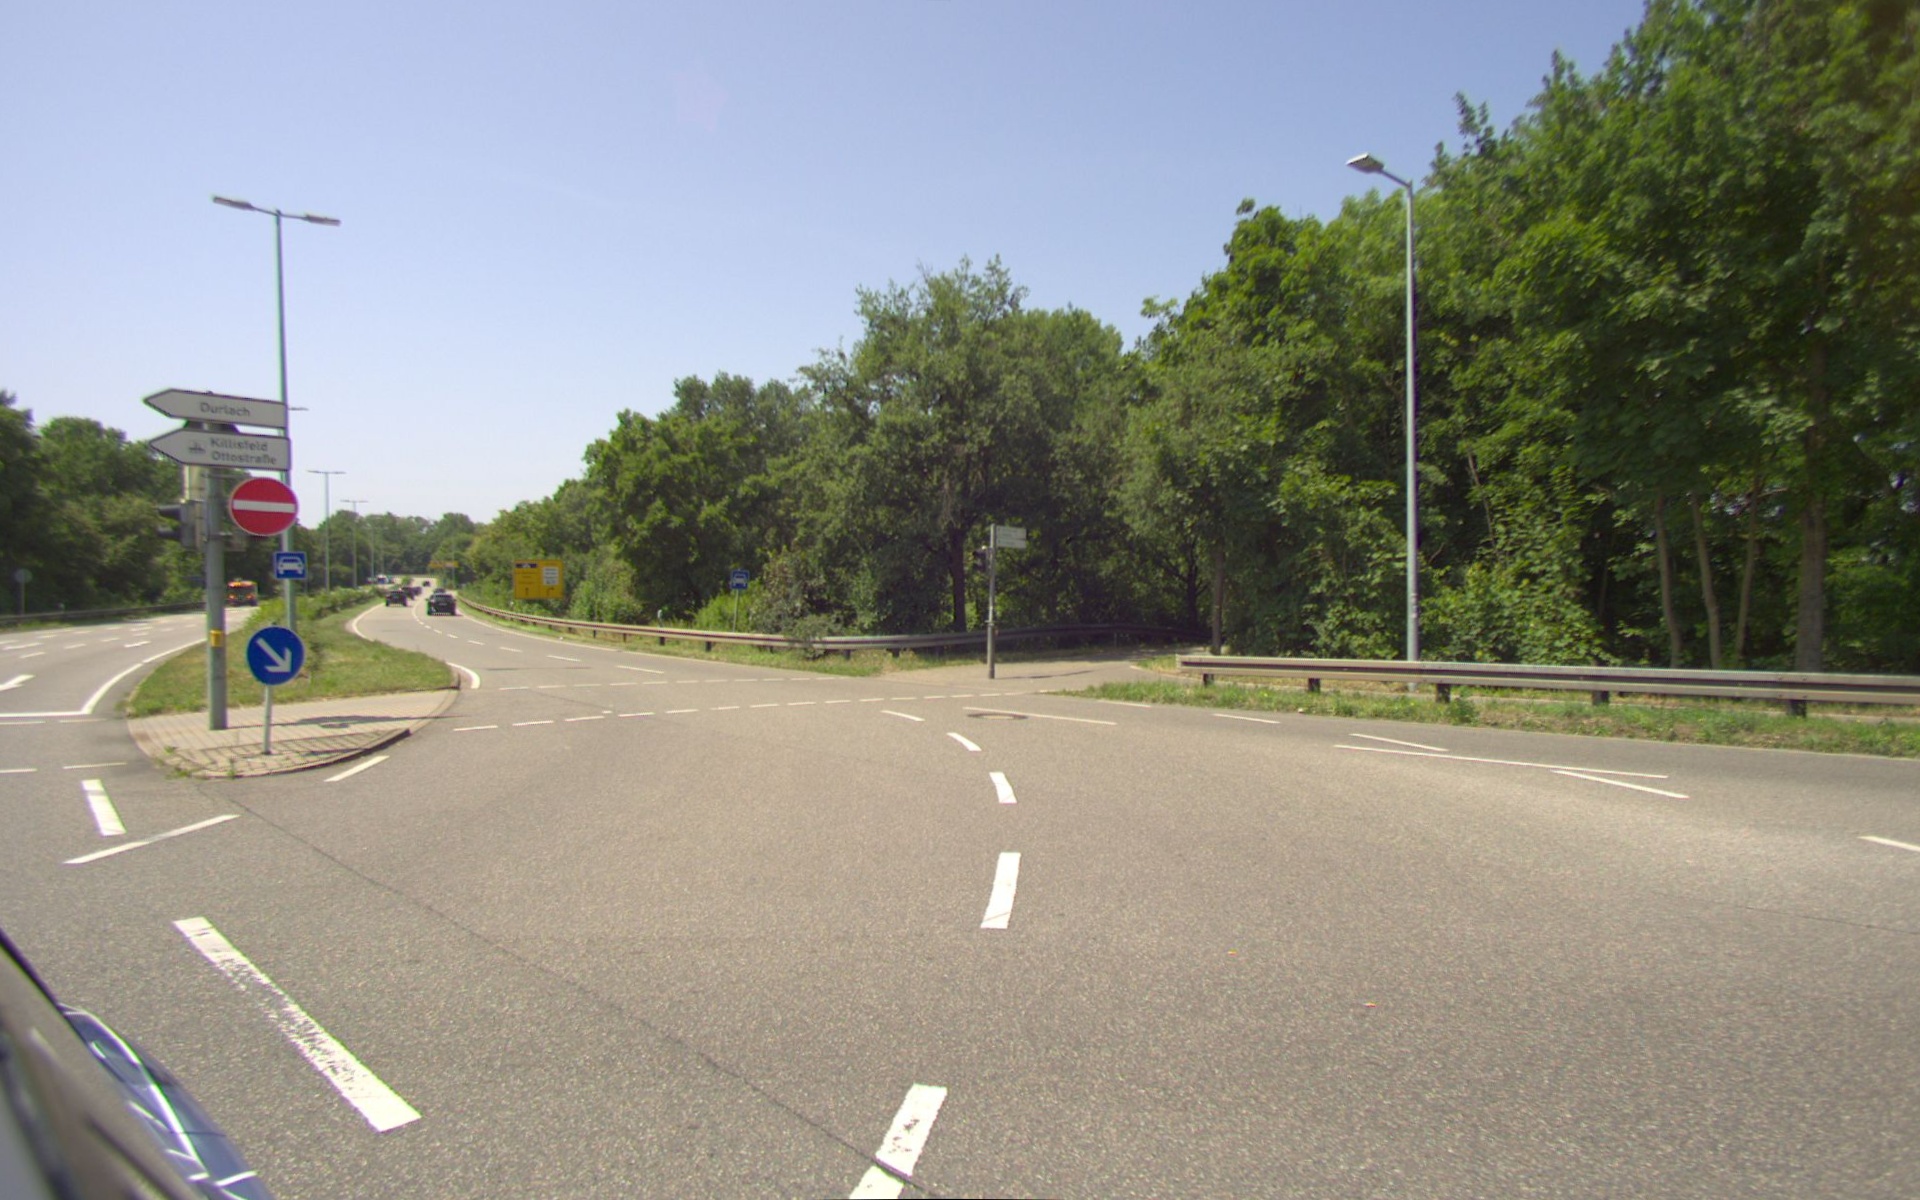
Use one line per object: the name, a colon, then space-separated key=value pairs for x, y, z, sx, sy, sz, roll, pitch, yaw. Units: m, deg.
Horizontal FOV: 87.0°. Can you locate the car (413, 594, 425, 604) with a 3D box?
car: x=-86.927 y=-0.140 z=162.686 sx=1.561 sy=1.497 sz=3.561 roll=-1 pitch=0 yaw=-27

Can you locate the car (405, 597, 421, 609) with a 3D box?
car: x=-69.060 y=0.412 z=127.767 sx=1.751 sy=1.514 sz=3.591 roll=-1 pitch=0 yaw=-29

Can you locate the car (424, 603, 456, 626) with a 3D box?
car: x=-38.581 y=1.033 z=75.008 sx=1.684 sy=1.639 sz=4.011 roll=-1 pitch=0 yaw=-34

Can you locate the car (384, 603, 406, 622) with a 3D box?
car: x=-54.585 y=1.195 z=97.752 sx=1.710 sy=1.701 sz=3.835 roll=-1 pitch=0 yaw=-30

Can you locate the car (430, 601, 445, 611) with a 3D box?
car: x=-77.157 y=0.867 z=149.572 sx=1.737 sy=1.494 sz=3.594 roll=-1 pitch=0 yaw=-24

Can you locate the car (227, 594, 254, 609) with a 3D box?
car: x=-74.546 y=0.163 z=104.873 sx=1.815 sy=1.441 sz=3.589 roll=-1 pitch=0 yaw=-27

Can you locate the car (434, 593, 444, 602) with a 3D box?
car: x=-115.762 y=-0.580 z=225.033 sx=1.965 sy=2.029 sz=4.013 roll=-1 pitch=0 yaw=-27
